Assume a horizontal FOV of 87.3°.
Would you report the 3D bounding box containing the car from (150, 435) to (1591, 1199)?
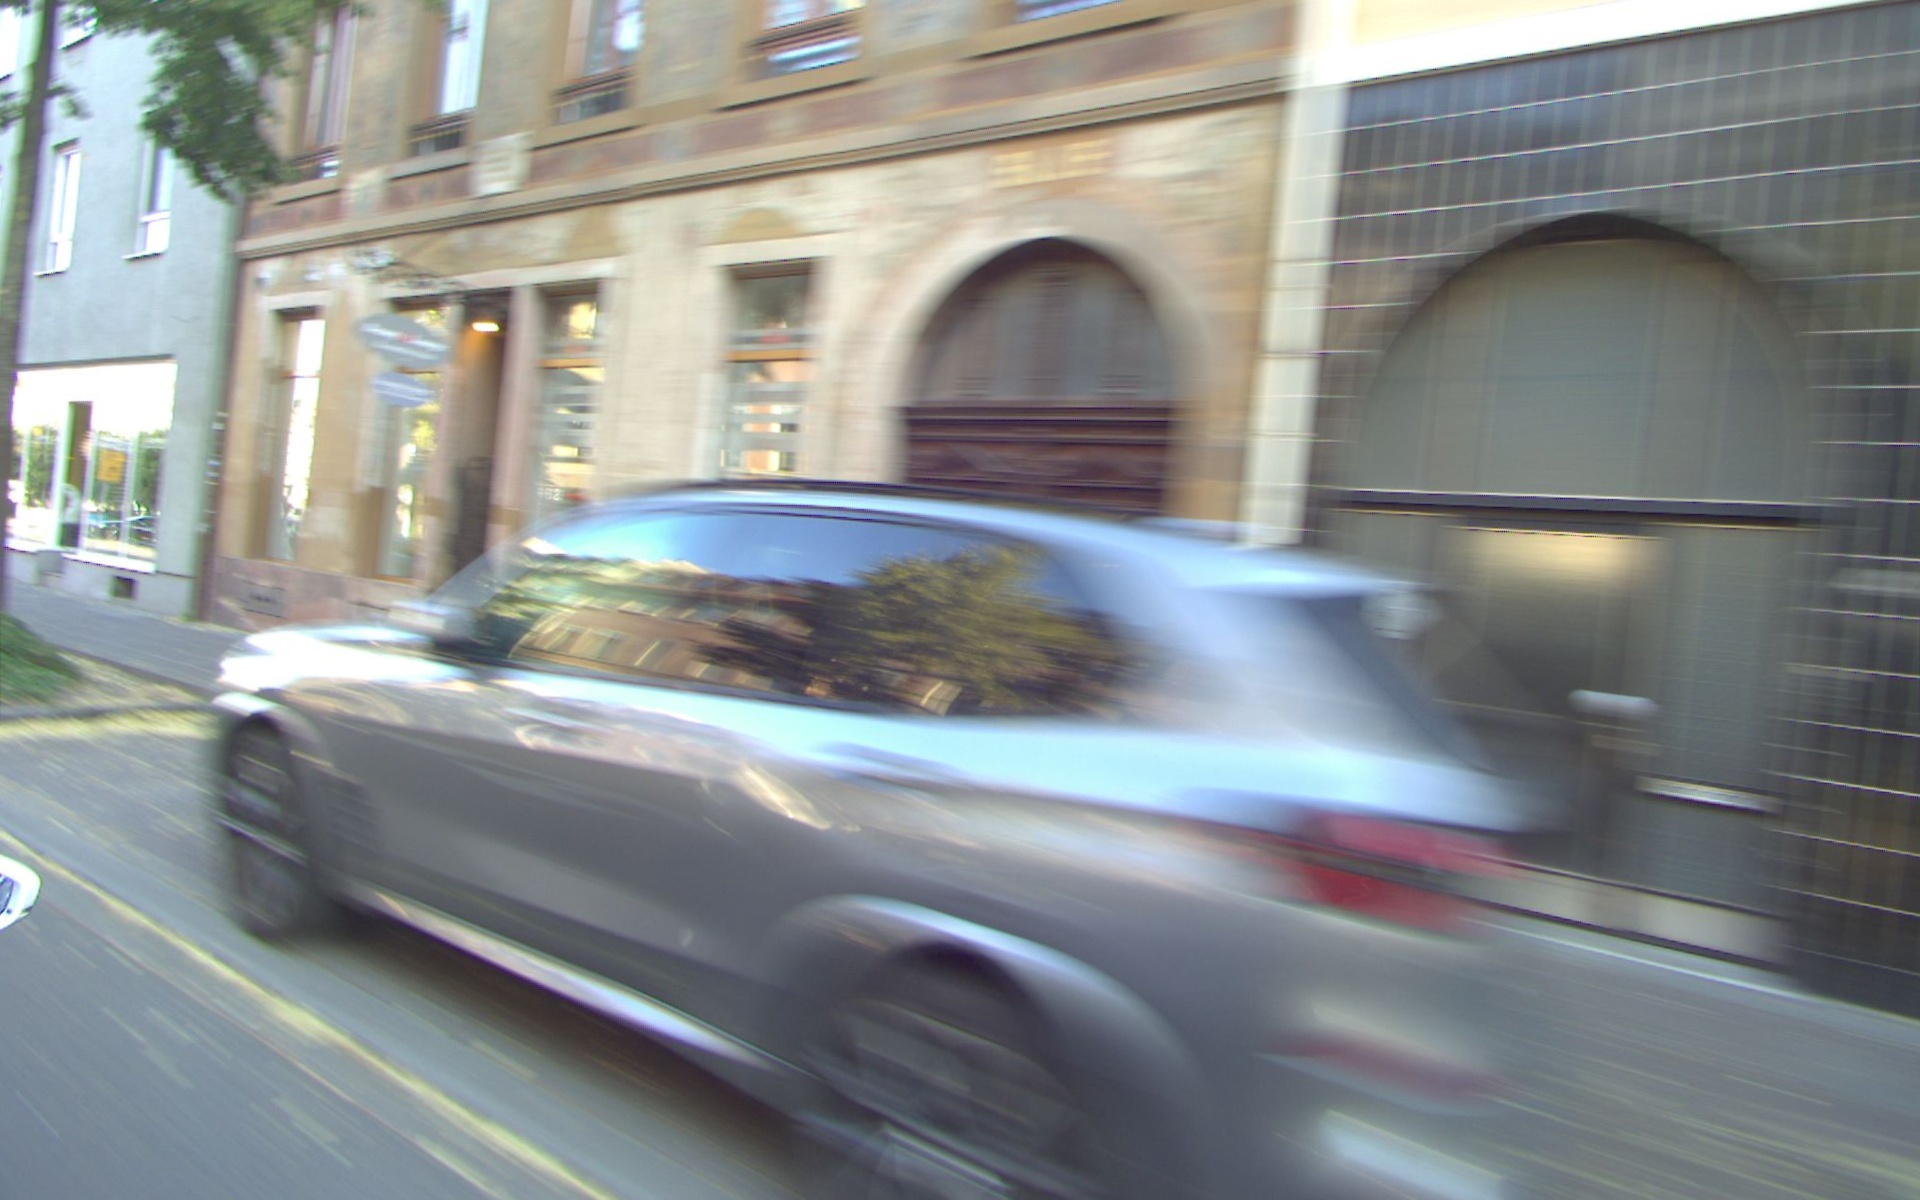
[{"bbox_3d":[-0.616,0.503,3.569,4.633,1.760,2.039,7,2,31],"label":"car"}]
